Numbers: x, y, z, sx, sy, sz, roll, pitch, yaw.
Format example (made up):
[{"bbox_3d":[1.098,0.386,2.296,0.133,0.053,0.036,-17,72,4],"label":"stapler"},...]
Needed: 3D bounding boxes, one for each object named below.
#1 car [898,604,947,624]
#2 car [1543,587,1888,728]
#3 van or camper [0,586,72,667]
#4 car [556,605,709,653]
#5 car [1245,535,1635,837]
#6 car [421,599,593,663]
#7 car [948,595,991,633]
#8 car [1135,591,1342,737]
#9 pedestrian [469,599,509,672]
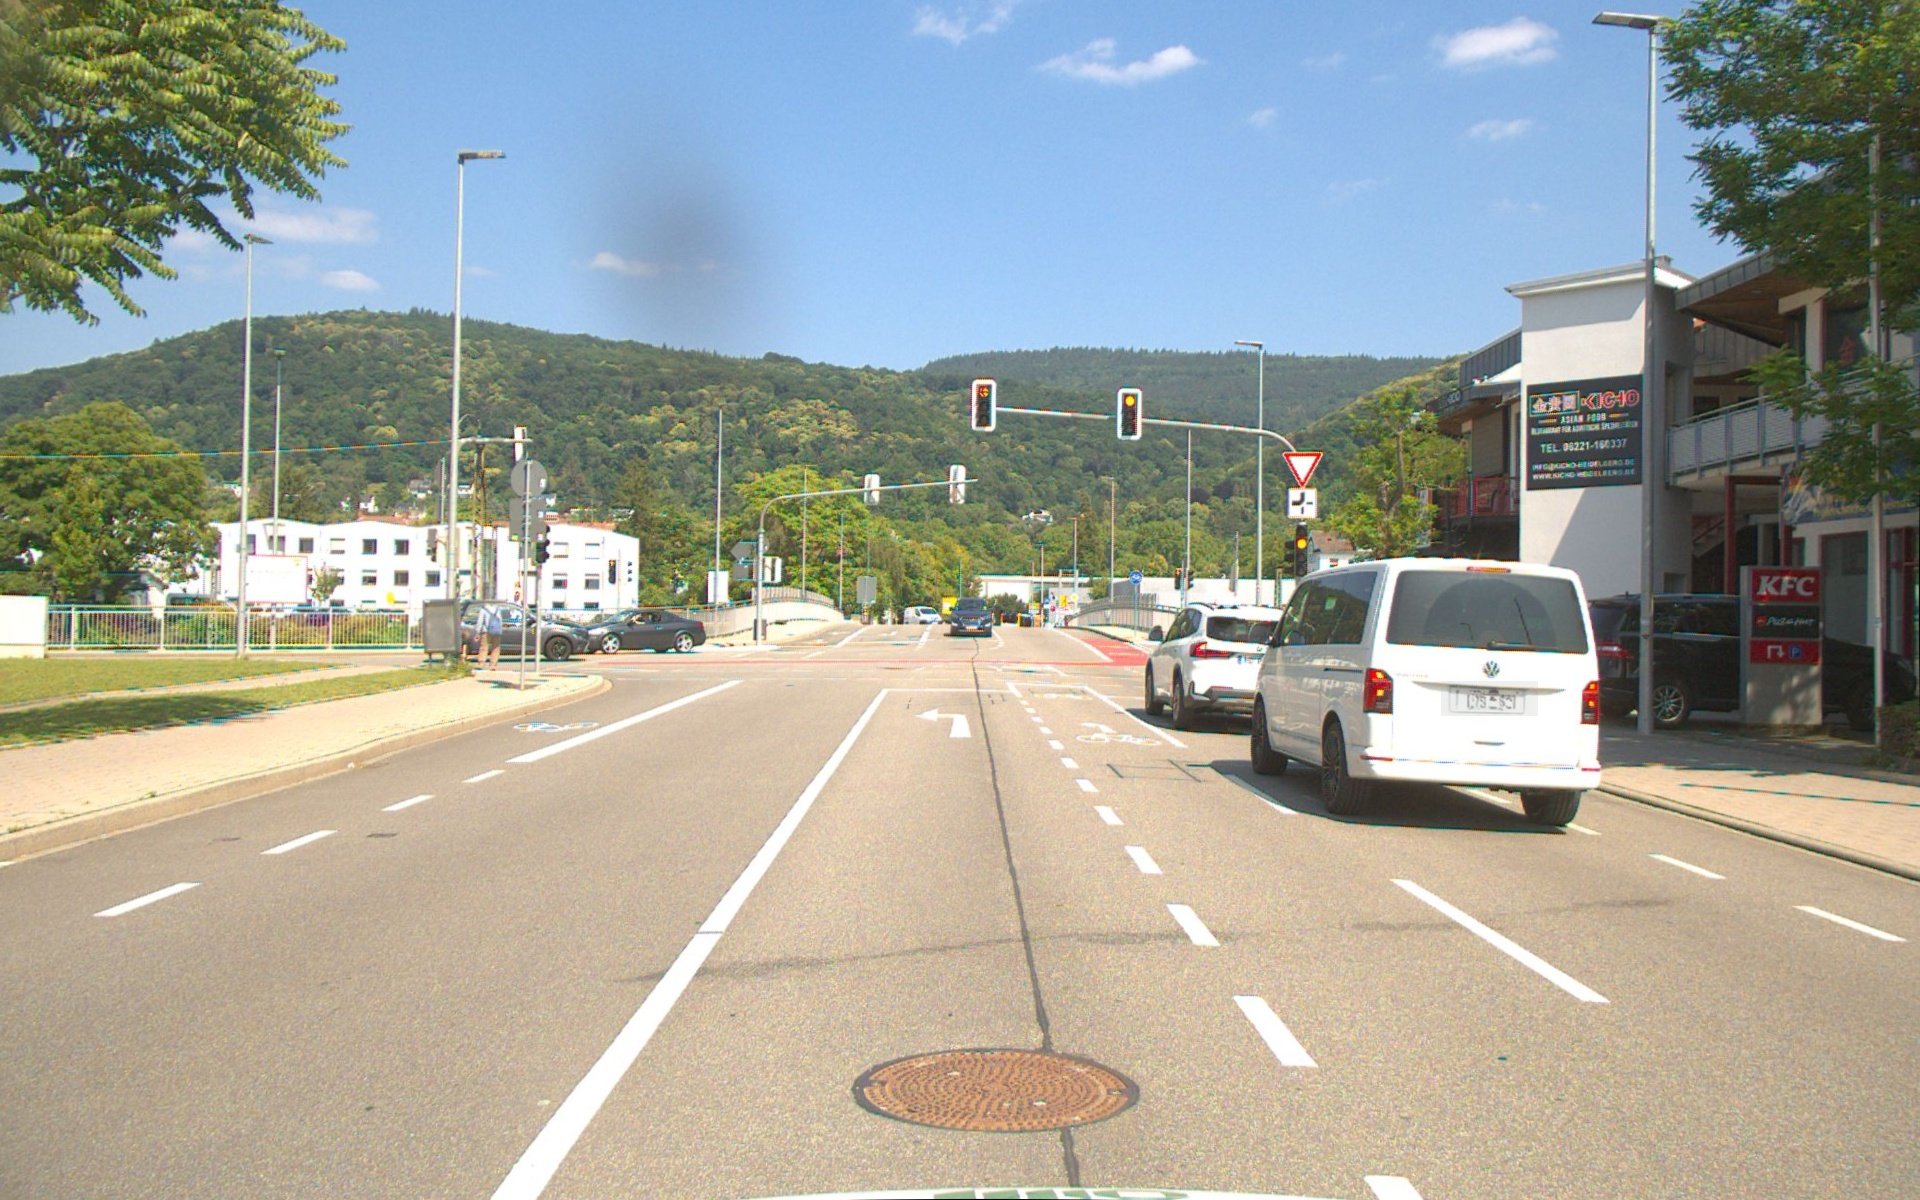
[{"bbox_3d":[-3.071,1.120,133.937,1.834,1.616,4.406,0,0,-35],"label":"car"},{"bbox_3d":[10.328,0.750,22.889,3.902,1.806,2.001,0,0,6],"label":"car"},{"bbox_3d":[-21.370,0.485,35.248,3.926,1.601,1.990,3,0,-18],"label":"van or camper"},{"bbox_3d":[-10.152,0.882,51.466,4.283,1.394,1.973,0,0,-39],"label":"car"},{"bbox_3d":[3.820,0.600,14.065,1.895,2.095,4.544,2,0,-1],"label":"car"},{"bbox_3d":[-11.857,0.798,43.482,4.243,1.620,1.992,0,0,-15],"label":"car"},{"bbox_3d":[0.411,0.593,72.413,1.812,1.616,4.000,0,0,0],"label":"car"},{"bbox_3d":[3.691,0.793,22.759,1.896,1.716,4.543,3,0,-2],"label":"car"},{"bbox_3d":[-10.537,0.786,37.015,0.684,1.601,0.675,1,0,-3],"label":"pedestrian"}]
